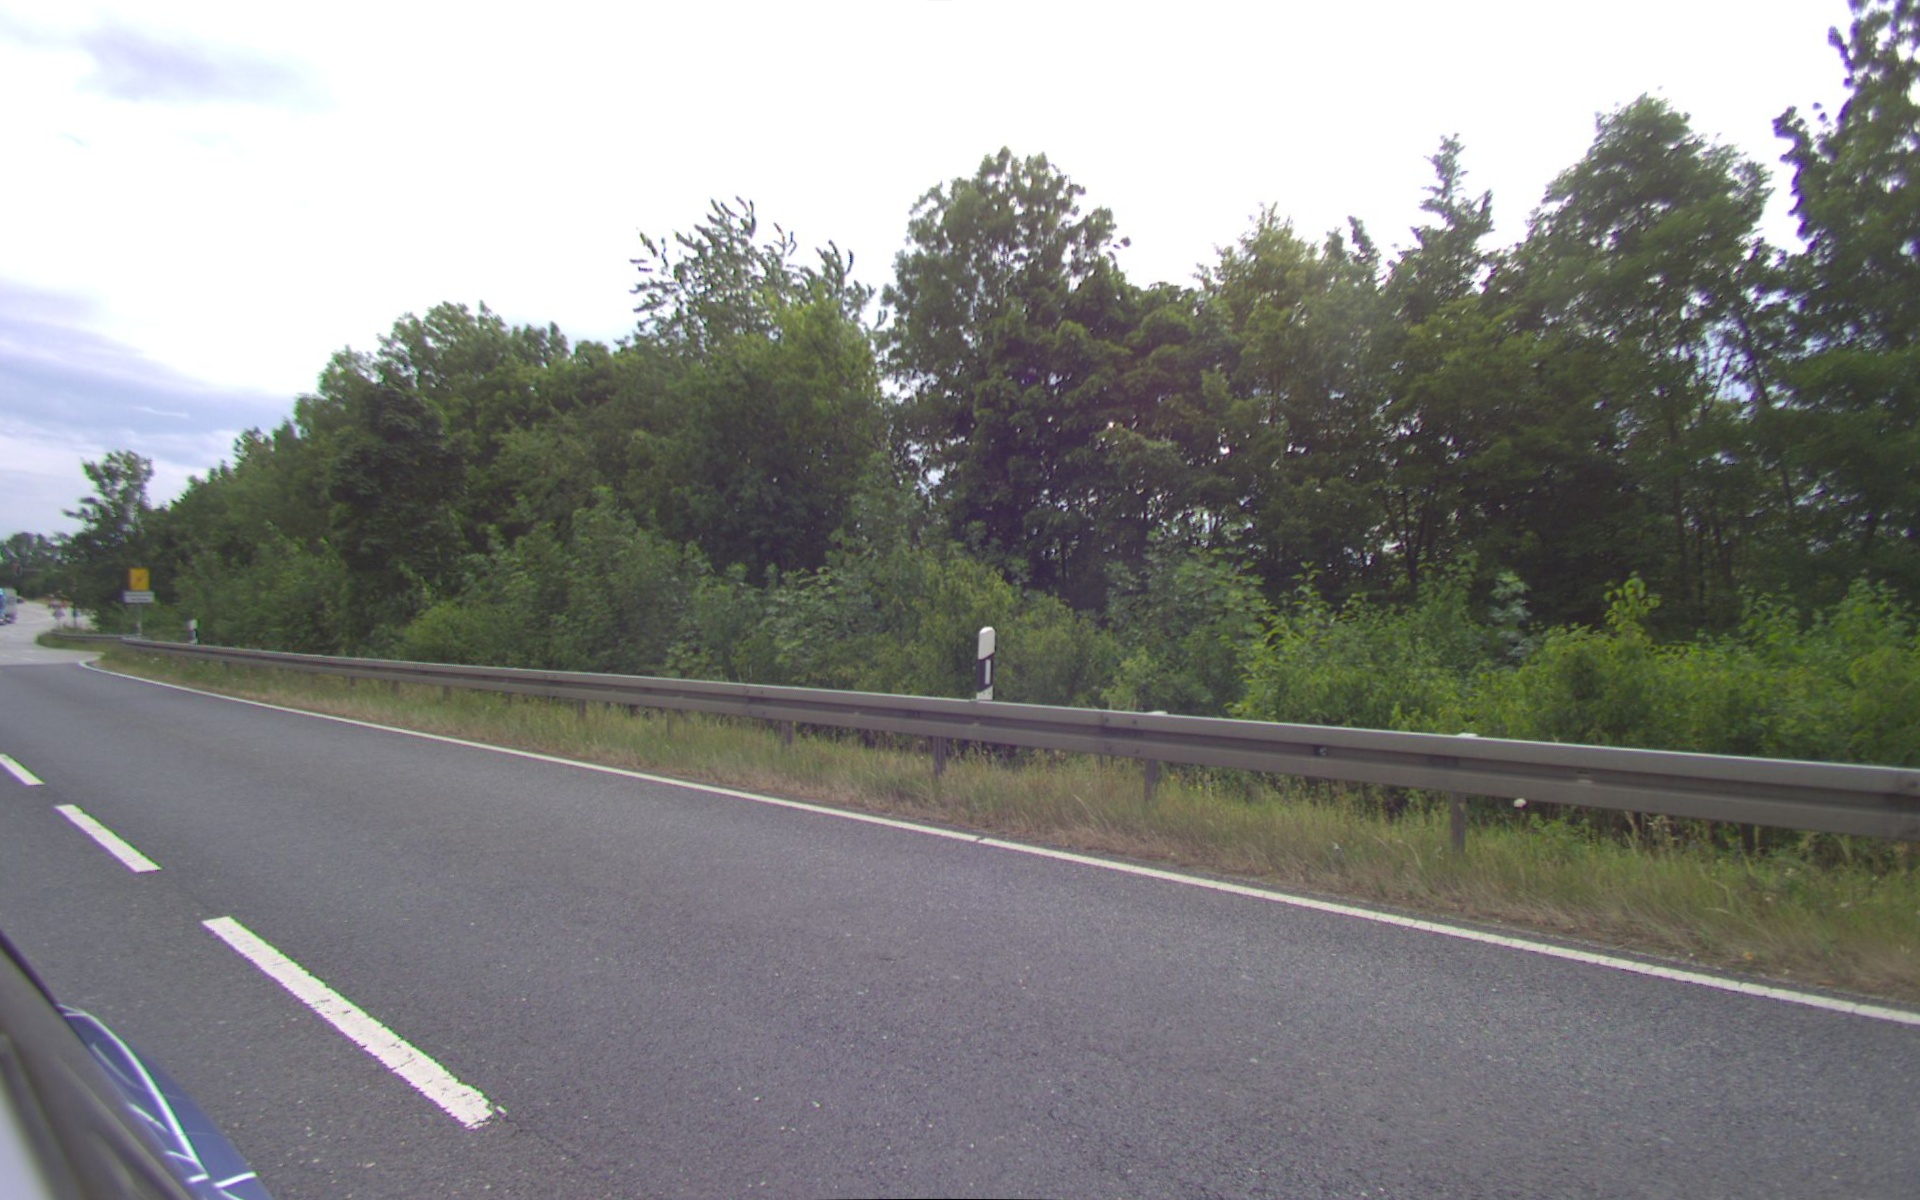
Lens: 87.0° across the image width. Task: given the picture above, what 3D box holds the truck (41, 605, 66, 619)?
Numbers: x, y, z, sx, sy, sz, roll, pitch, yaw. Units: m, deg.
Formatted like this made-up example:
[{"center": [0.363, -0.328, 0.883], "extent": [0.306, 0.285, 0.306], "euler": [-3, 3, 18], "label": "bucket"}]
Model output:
[{"center": [-169.152, 2.221, 188.865], "extent": [6.013, 2.621, 2.294], "euler": [0, -3, 37], "label": "truck"}]

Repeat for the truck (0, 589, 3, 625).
[{"center": [-107.728, 0.919, 111.478], "extent": [2.983, 4.383, 9.581], "euler": [4, -3, -43], "label": "truck"}]
